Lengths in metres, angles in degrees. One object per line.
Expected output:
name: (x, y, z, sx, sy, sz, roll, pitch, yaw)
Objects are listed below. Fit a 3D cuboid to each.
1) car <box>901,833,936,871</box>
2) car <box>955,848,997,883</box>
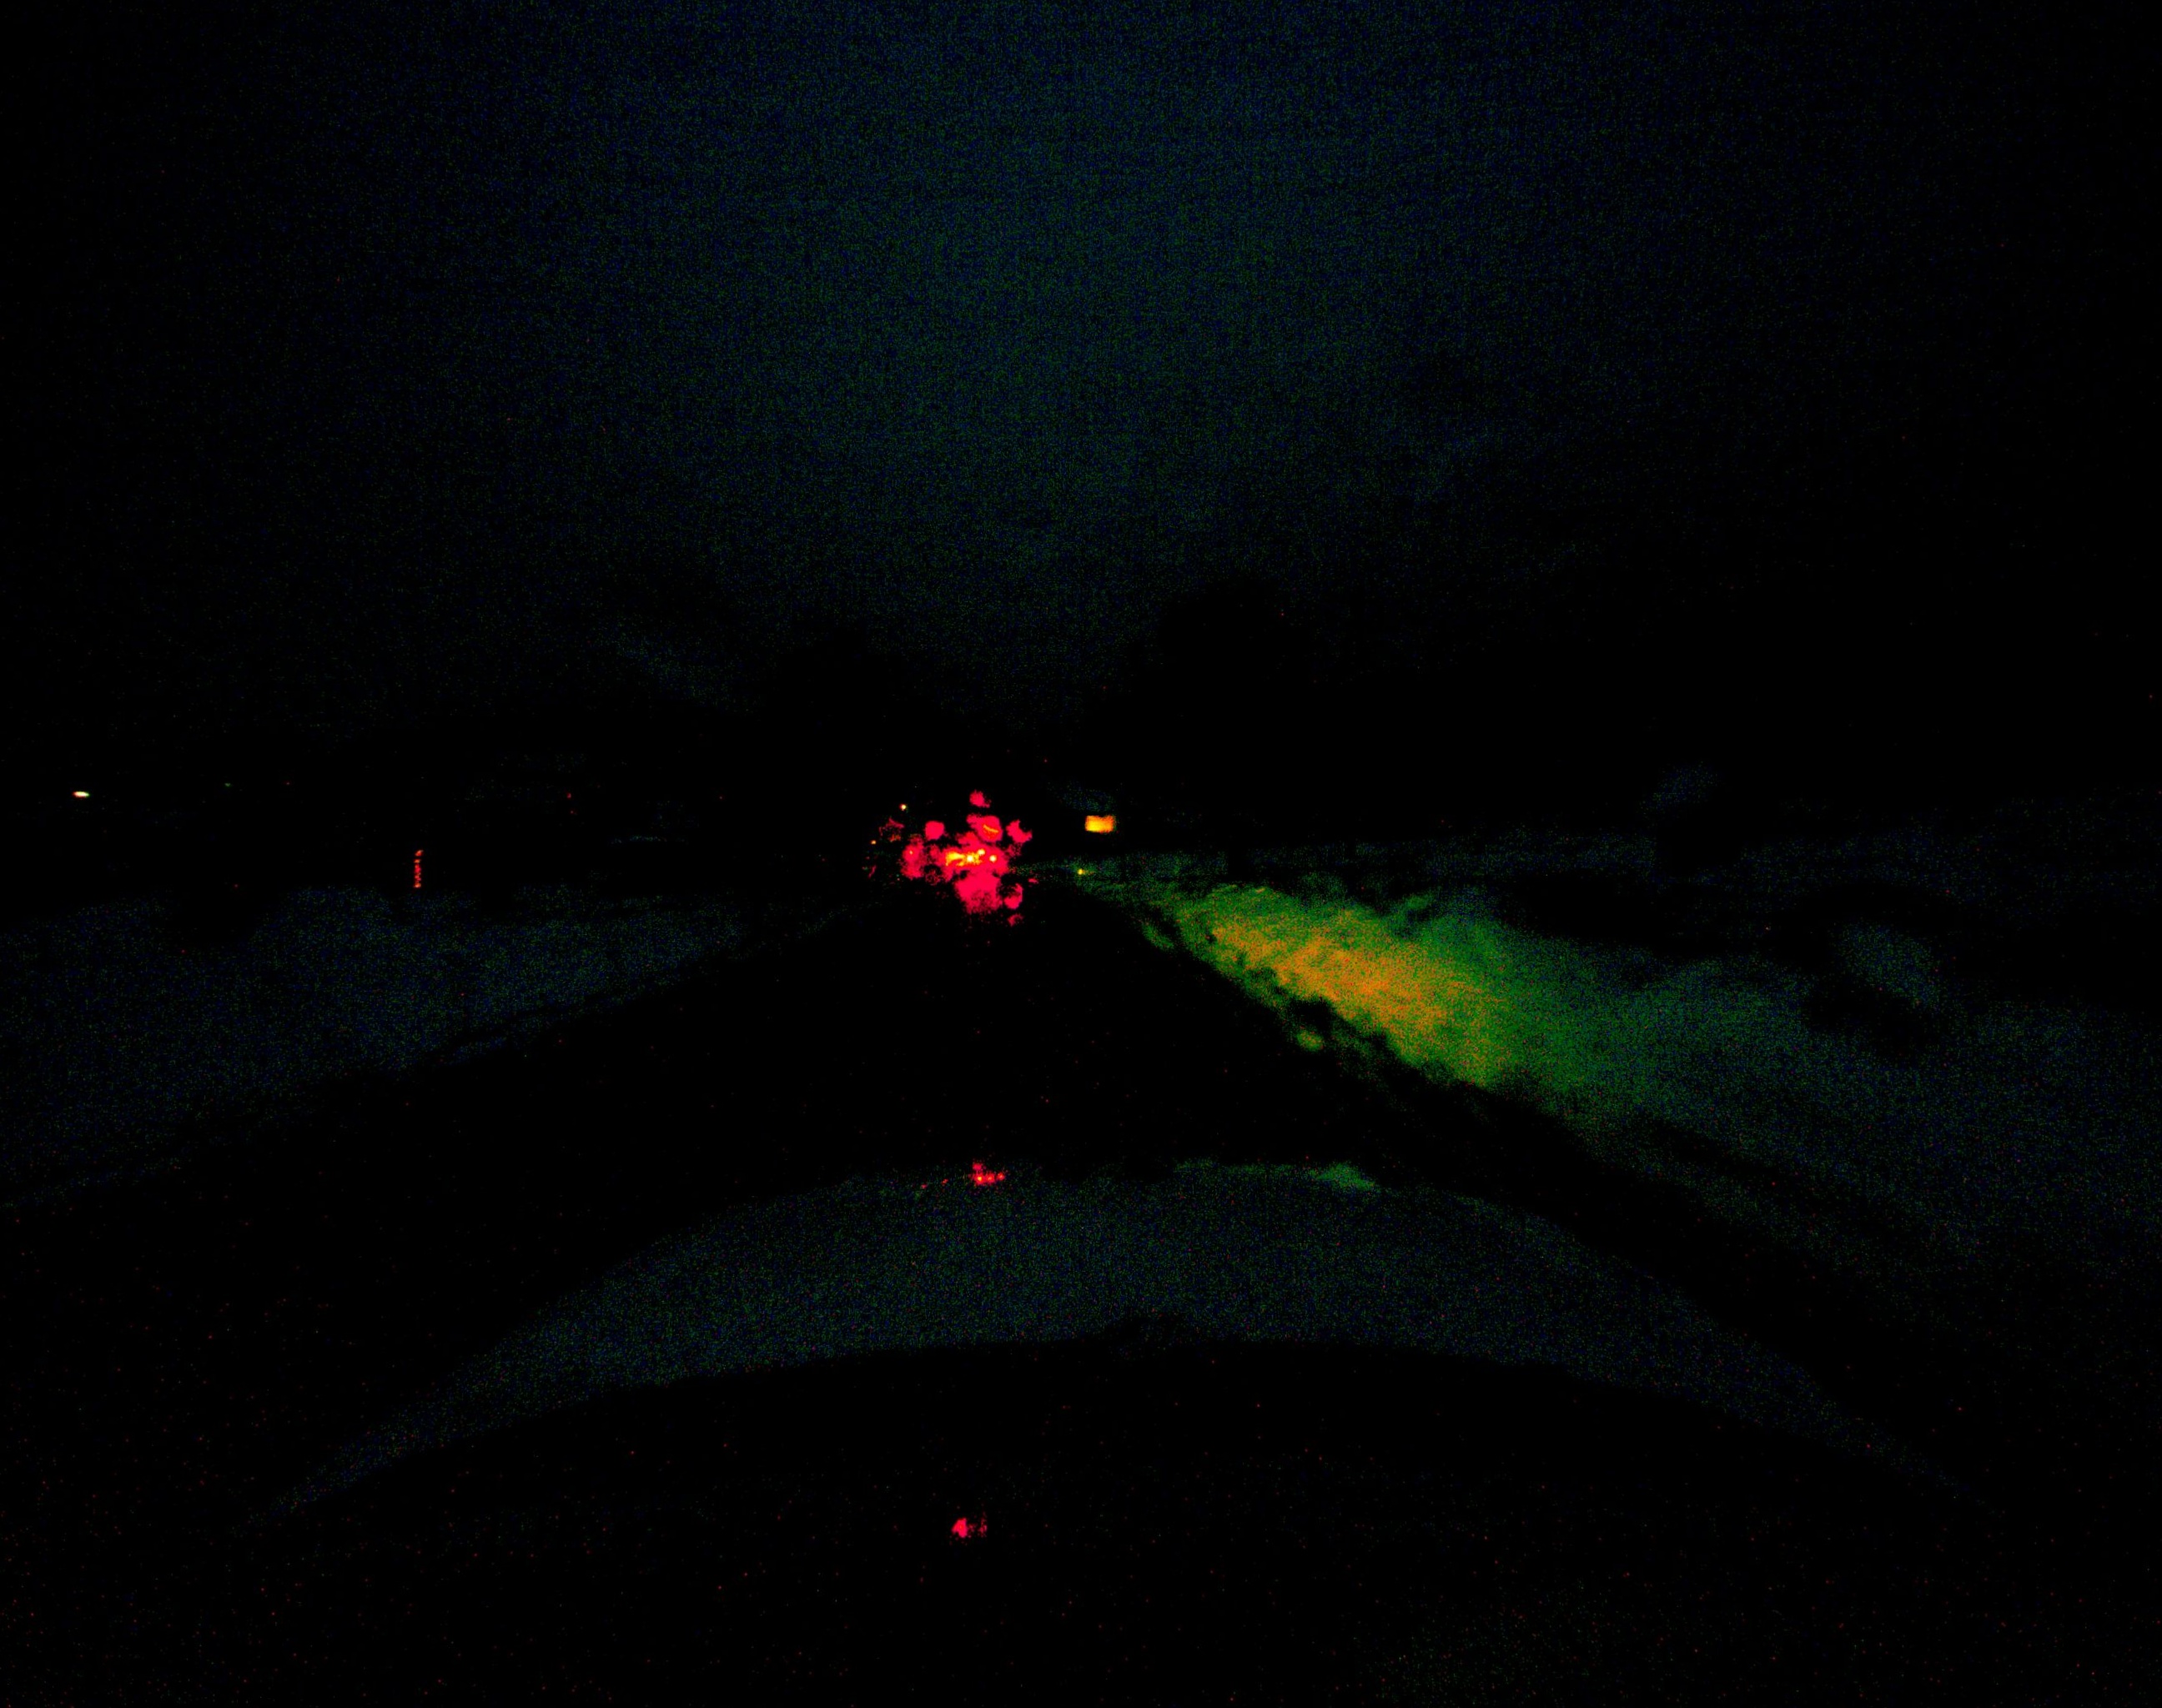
car: (-13.468, -0.112, 67.692, 2.433, 3.019, 5.311, -1, -1, -7)
car: (-6.193, 0.644, 47.729, 2.273, 1.840, 4.992, -2, 0, -9)
